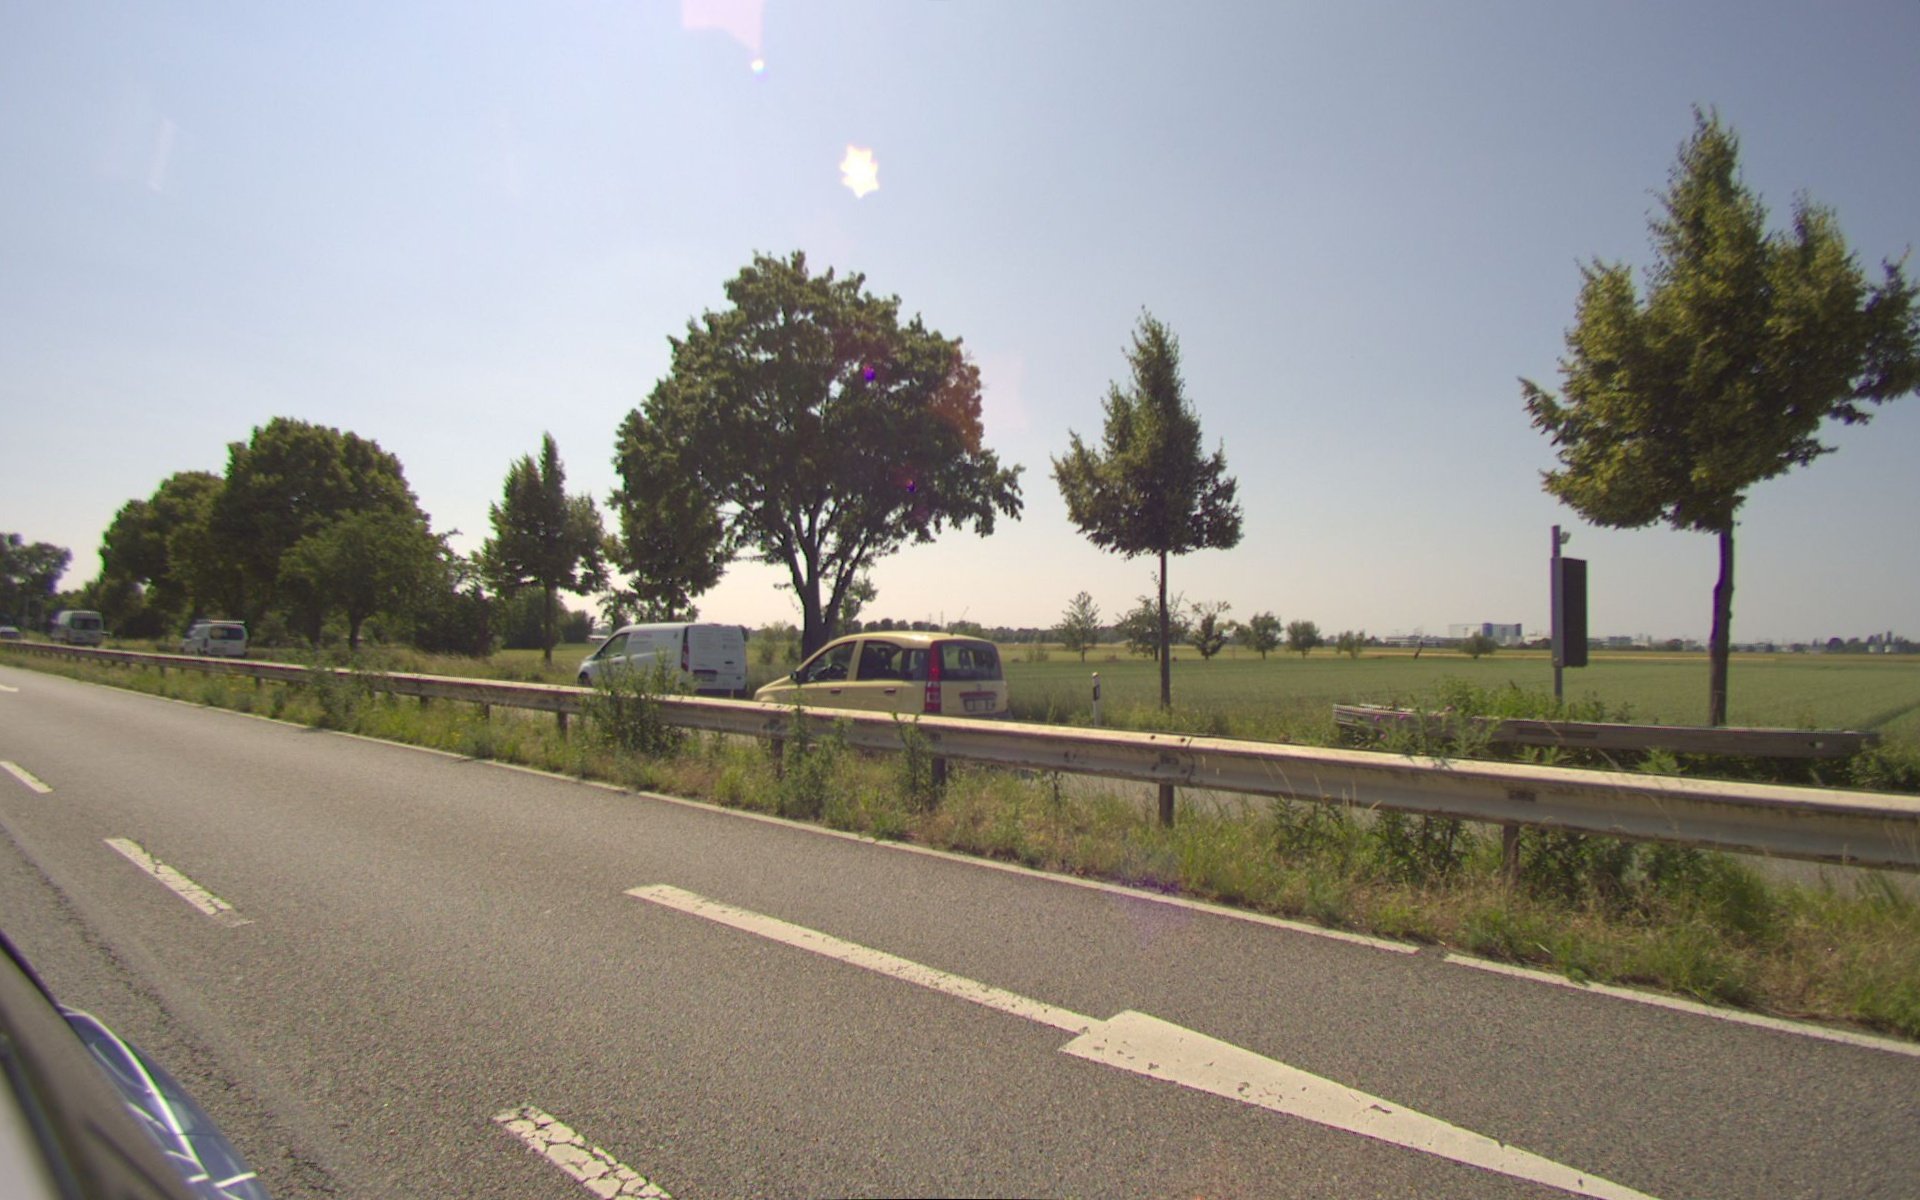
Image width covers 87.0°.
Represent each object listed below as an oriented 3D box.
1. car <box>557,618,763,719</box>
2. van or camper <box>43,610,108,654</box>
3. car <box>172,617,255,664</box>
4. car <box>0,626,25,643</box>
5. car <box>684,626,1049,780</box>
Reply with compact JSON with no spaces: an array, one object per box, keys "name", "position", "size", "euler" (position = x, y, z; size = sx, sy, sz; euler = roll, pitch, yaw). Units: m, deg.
[{"name":"car","position":[-6.650,1.405,22.149],"size":[4.923,1.975,1.973],"euler":[-1,-2,40]},{"name":"van or camper","position":[-61.698,2.241,70.544],"size":[7.088,2.971,2.360],"euler":[-1,-3,41]},{"name":"car","position":[-33.830,1.818,45.828],"size":[4.529,2.029,2.017],"euler":[-1,-2,40]},{"name":"car","position":[-93.622,3.413,99.497],"size":[4.862,1.603,1.935],"euler":[-1,-3,40]},{"name":"car","position":[-1.279,1.119,12.588],"size":[4.477,1.569,1.973],"euler":[-1,-2,40]}]
